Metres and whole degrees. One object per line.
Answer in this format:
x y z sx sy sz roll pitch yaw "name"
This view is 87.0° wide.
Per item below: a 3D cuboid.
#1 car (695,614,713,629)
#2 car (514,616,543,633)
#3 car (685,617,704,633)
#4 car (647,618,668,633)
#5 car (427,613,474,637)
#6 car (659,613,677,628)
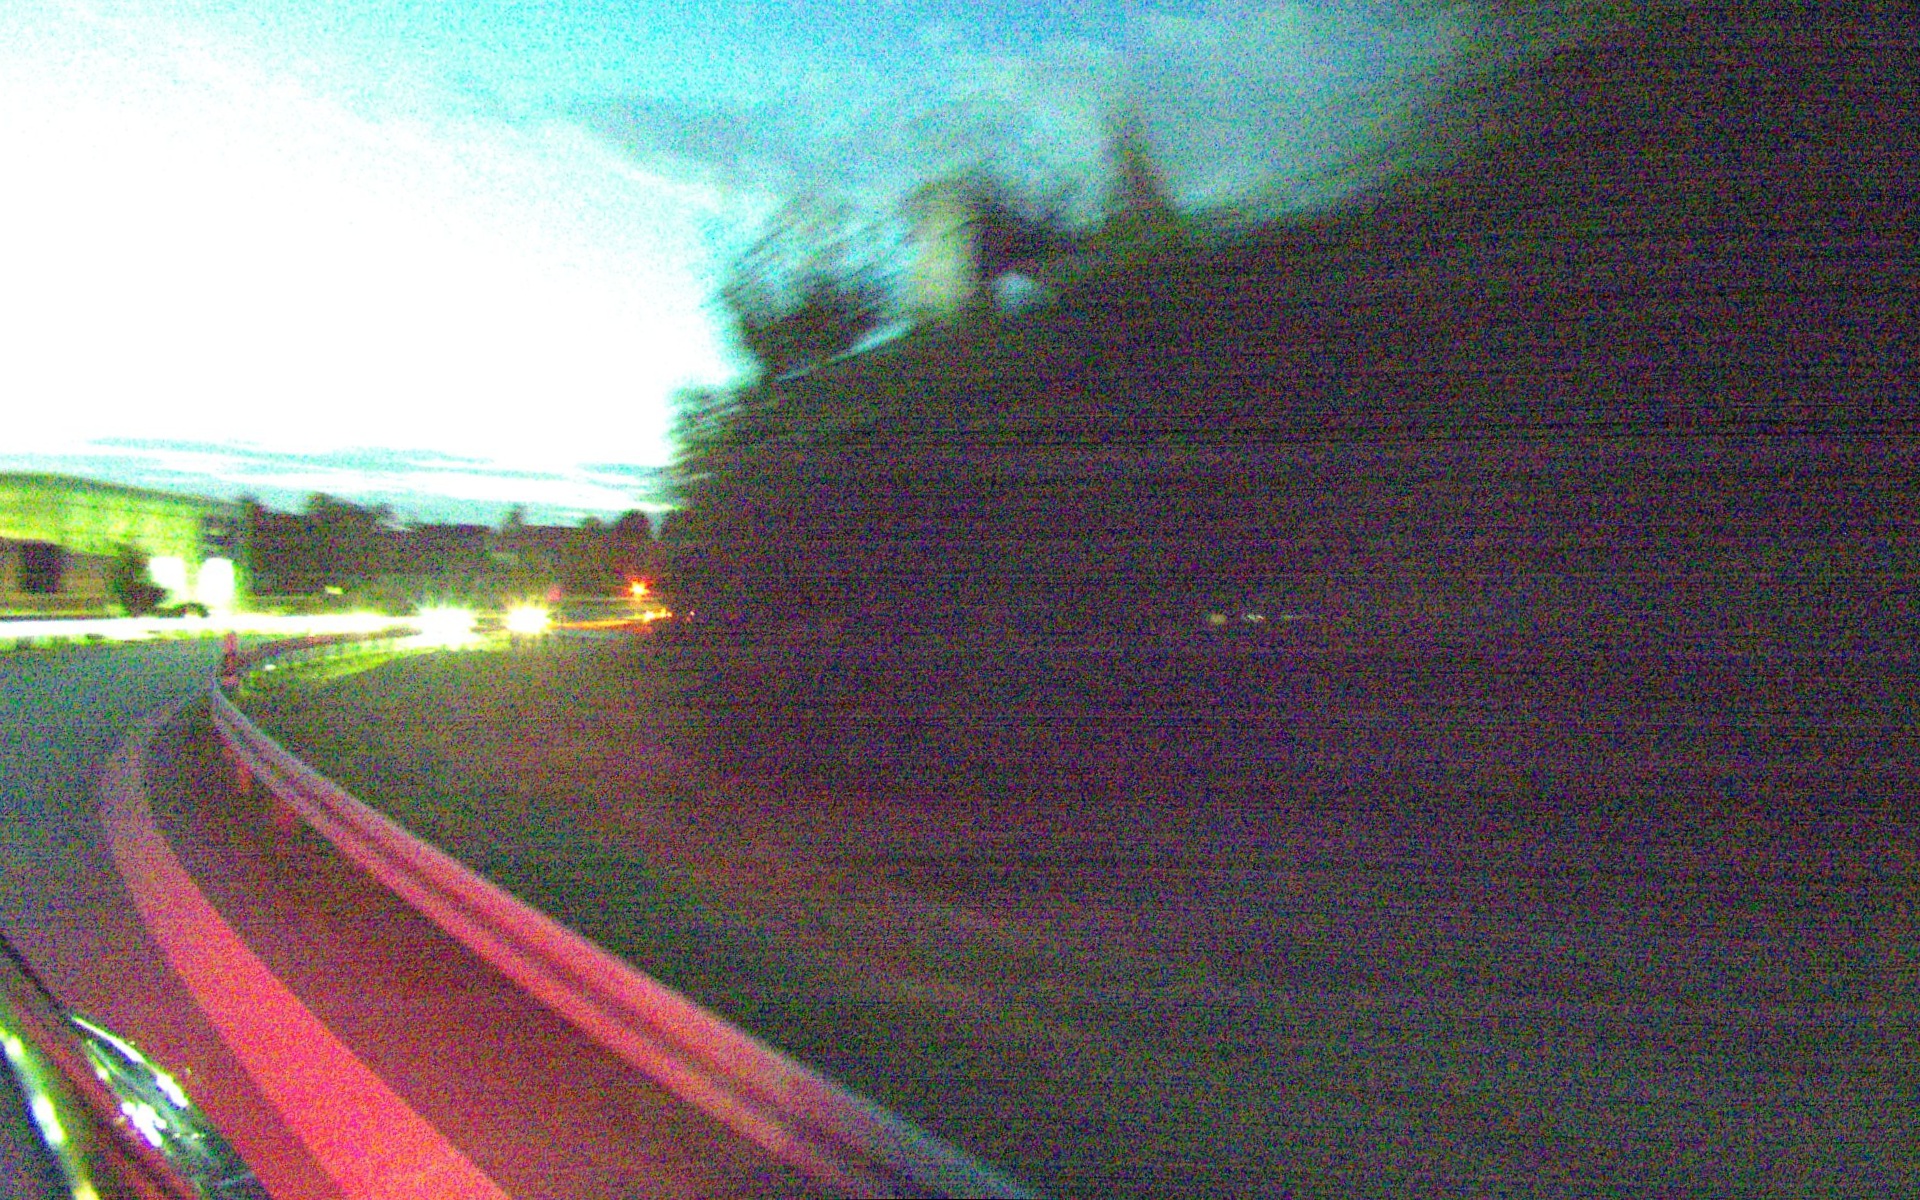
-28.537 2.436 112.918 1.731 1.471 4.009 0 1 -11 "car"
-38.909 2.199 91.306 1.631 1.461 3.497 1 0 -9 "car"
-27.829 2.603 106.194 1.661 1.470 3.821 2 0 -11 "car"
-31.928 2.658 106.734 1.687 1.455 3.994 1 0 -11 "car"
-33.150 1.598 66.005 1.734 1.470 4.203 1 0 -12 "car"
-32.936 2.280 114.305 1.676 1.485 3.881 0 2 -12 "car"
